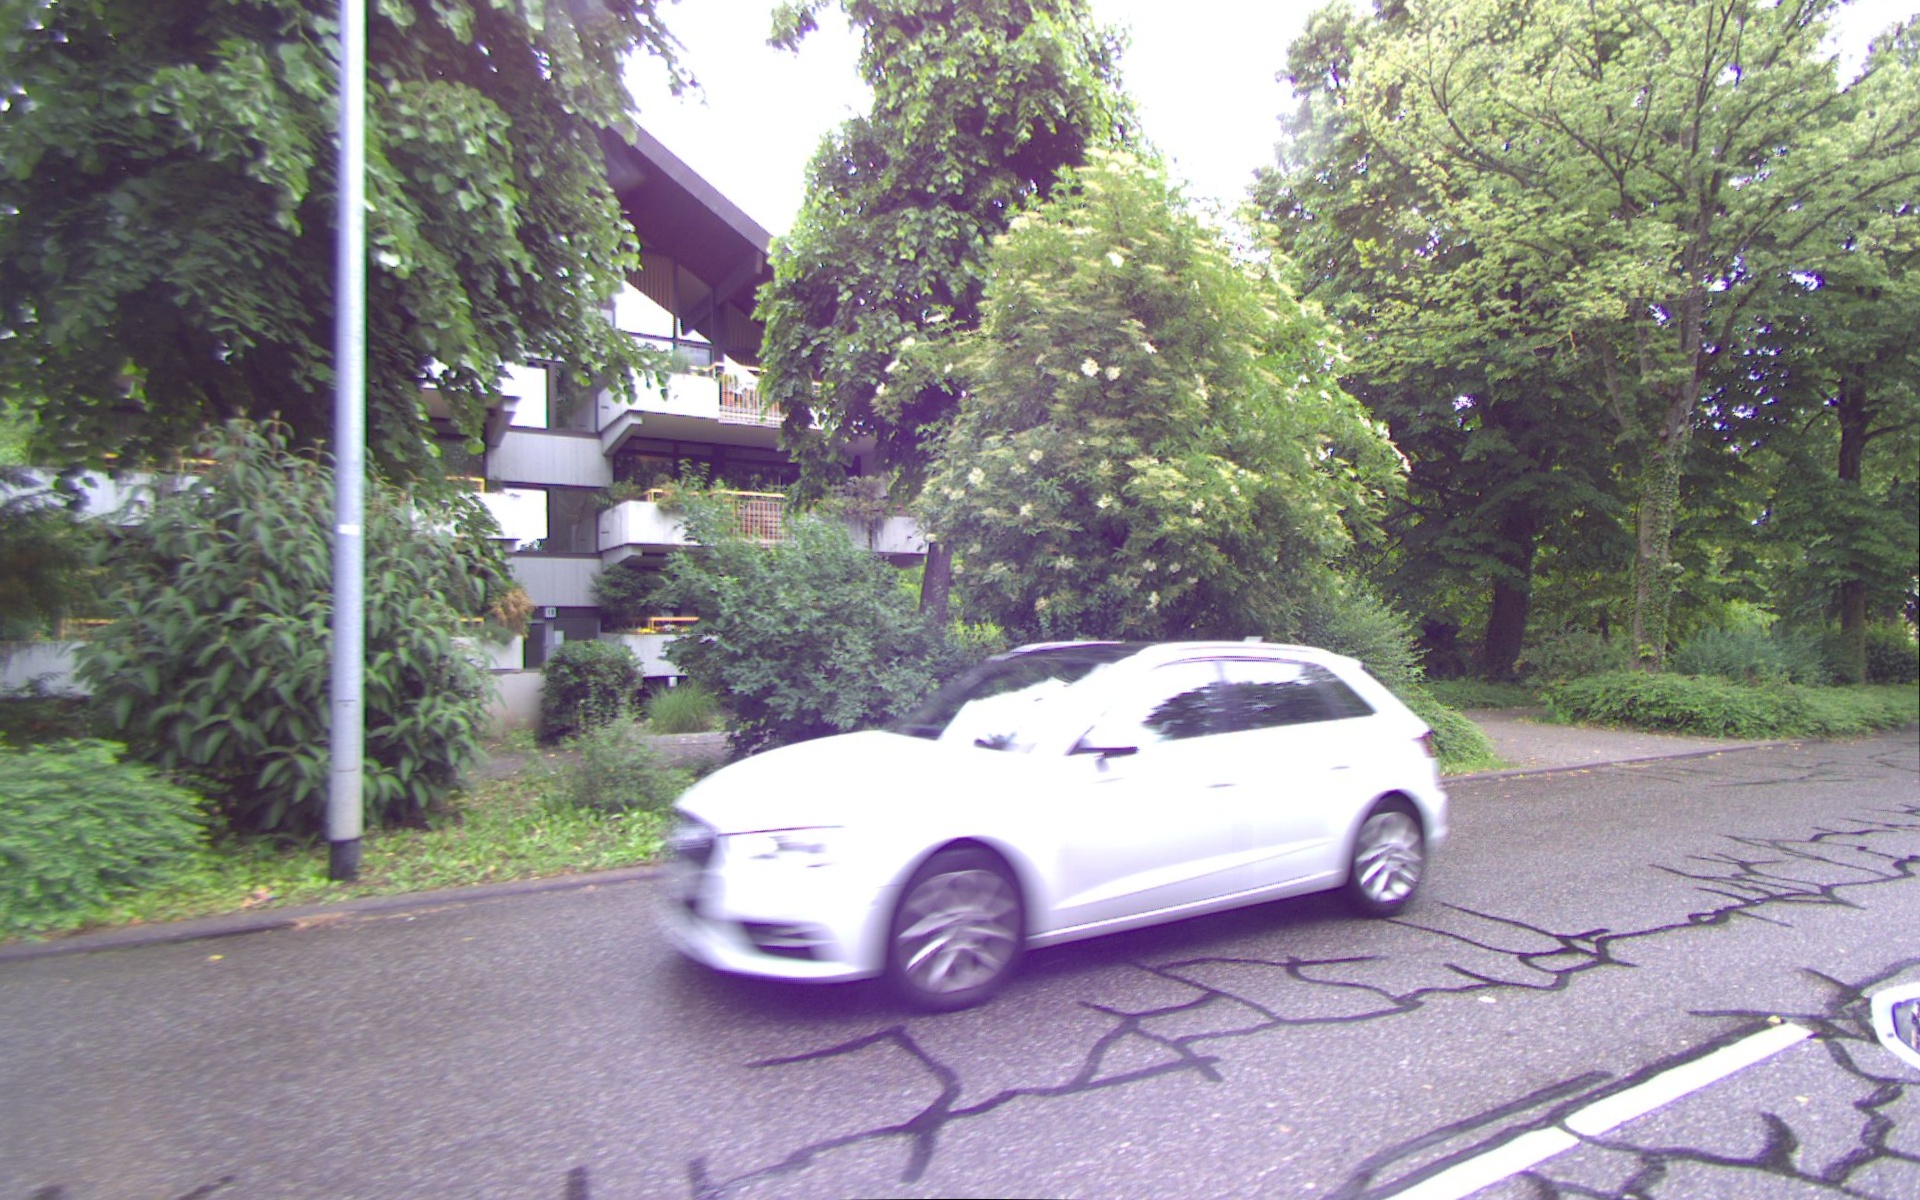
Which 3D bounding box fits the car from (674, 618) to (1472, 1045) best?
[{"bbox_3d":[0.726,0.826,5.161,3.964,1.446,1.599,1,-2,-32],"label":"car"}]
